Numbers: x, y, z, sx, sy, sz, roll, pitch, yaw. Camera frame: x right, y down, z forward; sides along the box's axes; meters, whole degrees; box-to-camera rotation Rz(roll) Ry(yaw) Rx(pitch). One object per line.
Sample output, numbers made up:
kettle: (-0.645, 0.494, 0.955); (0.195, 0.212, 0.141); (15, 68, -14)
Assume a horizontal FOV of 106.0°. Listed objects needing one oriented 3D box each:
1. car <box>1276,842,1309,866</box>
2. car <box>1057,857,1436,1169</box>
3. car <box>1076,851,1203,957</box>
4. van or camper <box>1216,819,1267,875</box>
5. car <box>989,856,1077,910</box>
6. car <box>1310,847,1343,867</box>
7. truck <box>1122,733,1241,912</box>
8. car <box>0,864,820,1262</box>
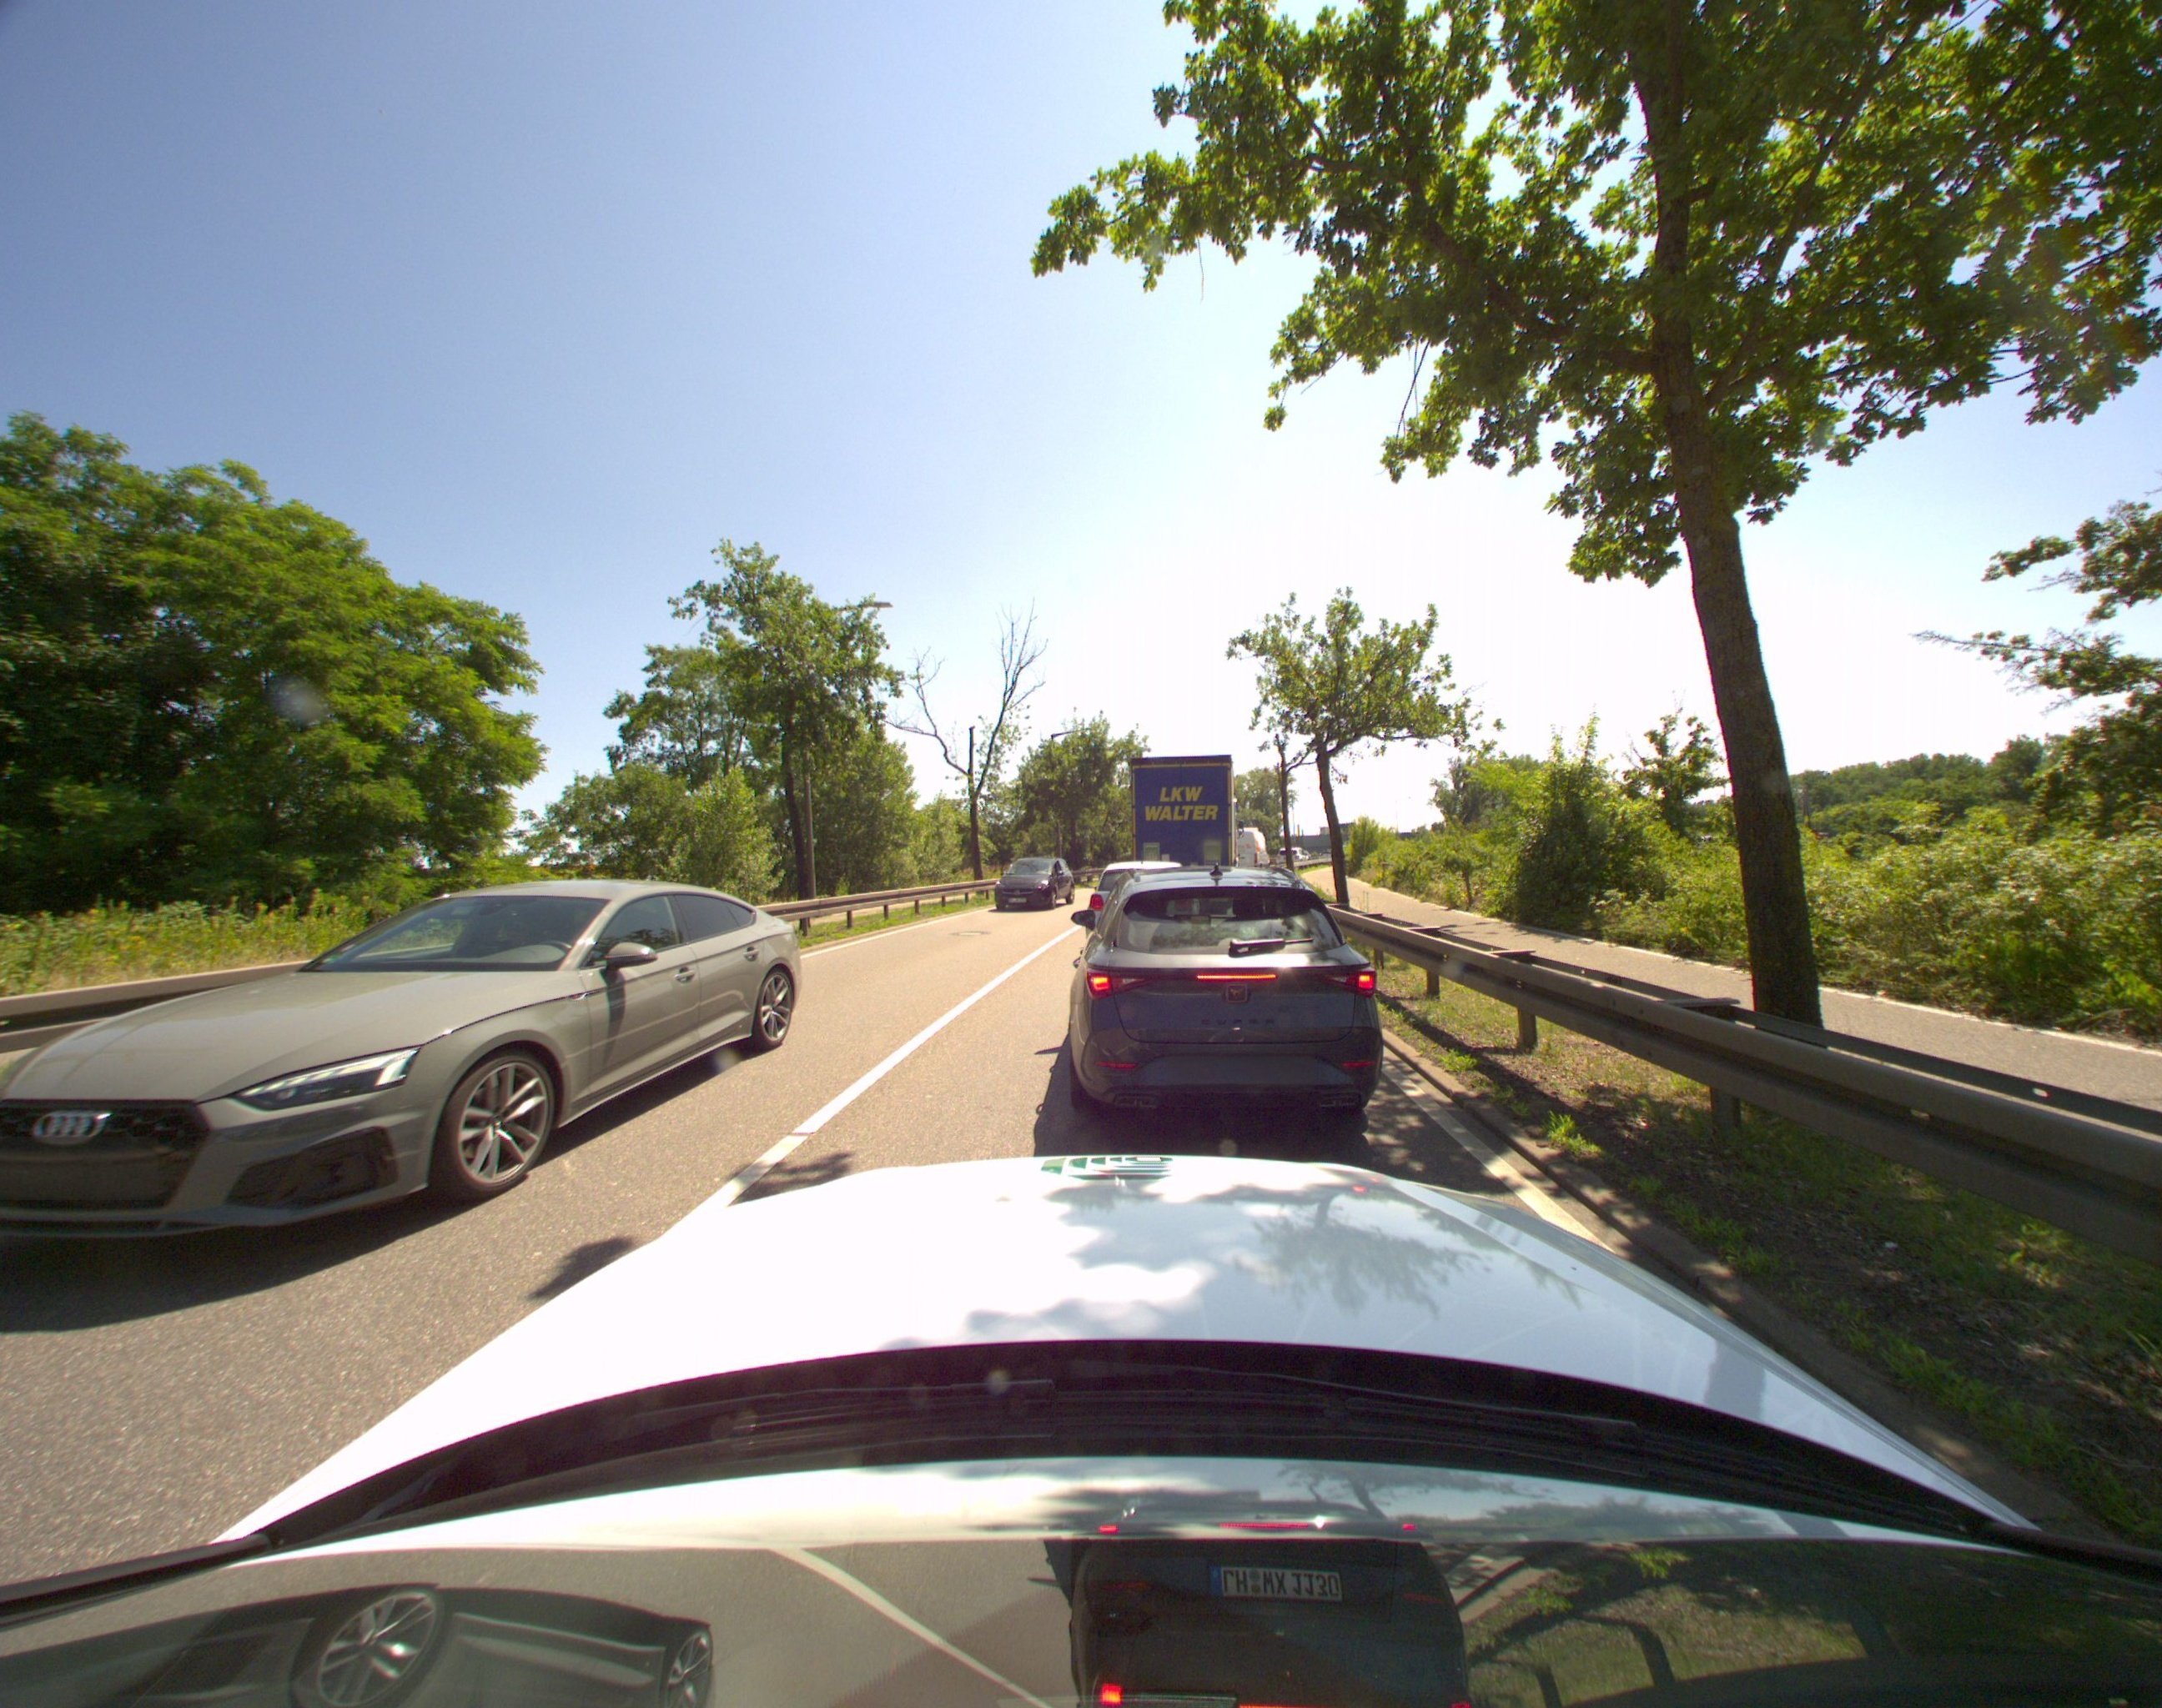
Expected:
car: (15.907, 0.029, 61.059); (1.977, 1.712, 4.643); (-1, 0, 20)
car: (0.840, 0.750, 5.719); (1.737, 1.432, 3.882); (-1, 0, 2)
car: (0.967, 0.720, 13.636); (1.801, 1.508, 4.004); (-1, 0, 4)
van or camper: (9.332, -0.376, 46.917); (2.448, 2.998, 6.110); (-1, 0, 15)
car: (-1.325, 0.796, 24.079); (1.660, 1.466, 3.832); (-1, 0, 12)
car: (22.484, 0.281, 74.440); (1.975, 1.808, 4.875); (-1, 0, 28)
truck: (4.103, -0.766, 28.764); (2.931, 4.449, 16.848); (-1, 0, 11)
car: (-3.373, 0.793, 5.190); (1.752, 1.396, 4.410); (-1, 0, 3)
